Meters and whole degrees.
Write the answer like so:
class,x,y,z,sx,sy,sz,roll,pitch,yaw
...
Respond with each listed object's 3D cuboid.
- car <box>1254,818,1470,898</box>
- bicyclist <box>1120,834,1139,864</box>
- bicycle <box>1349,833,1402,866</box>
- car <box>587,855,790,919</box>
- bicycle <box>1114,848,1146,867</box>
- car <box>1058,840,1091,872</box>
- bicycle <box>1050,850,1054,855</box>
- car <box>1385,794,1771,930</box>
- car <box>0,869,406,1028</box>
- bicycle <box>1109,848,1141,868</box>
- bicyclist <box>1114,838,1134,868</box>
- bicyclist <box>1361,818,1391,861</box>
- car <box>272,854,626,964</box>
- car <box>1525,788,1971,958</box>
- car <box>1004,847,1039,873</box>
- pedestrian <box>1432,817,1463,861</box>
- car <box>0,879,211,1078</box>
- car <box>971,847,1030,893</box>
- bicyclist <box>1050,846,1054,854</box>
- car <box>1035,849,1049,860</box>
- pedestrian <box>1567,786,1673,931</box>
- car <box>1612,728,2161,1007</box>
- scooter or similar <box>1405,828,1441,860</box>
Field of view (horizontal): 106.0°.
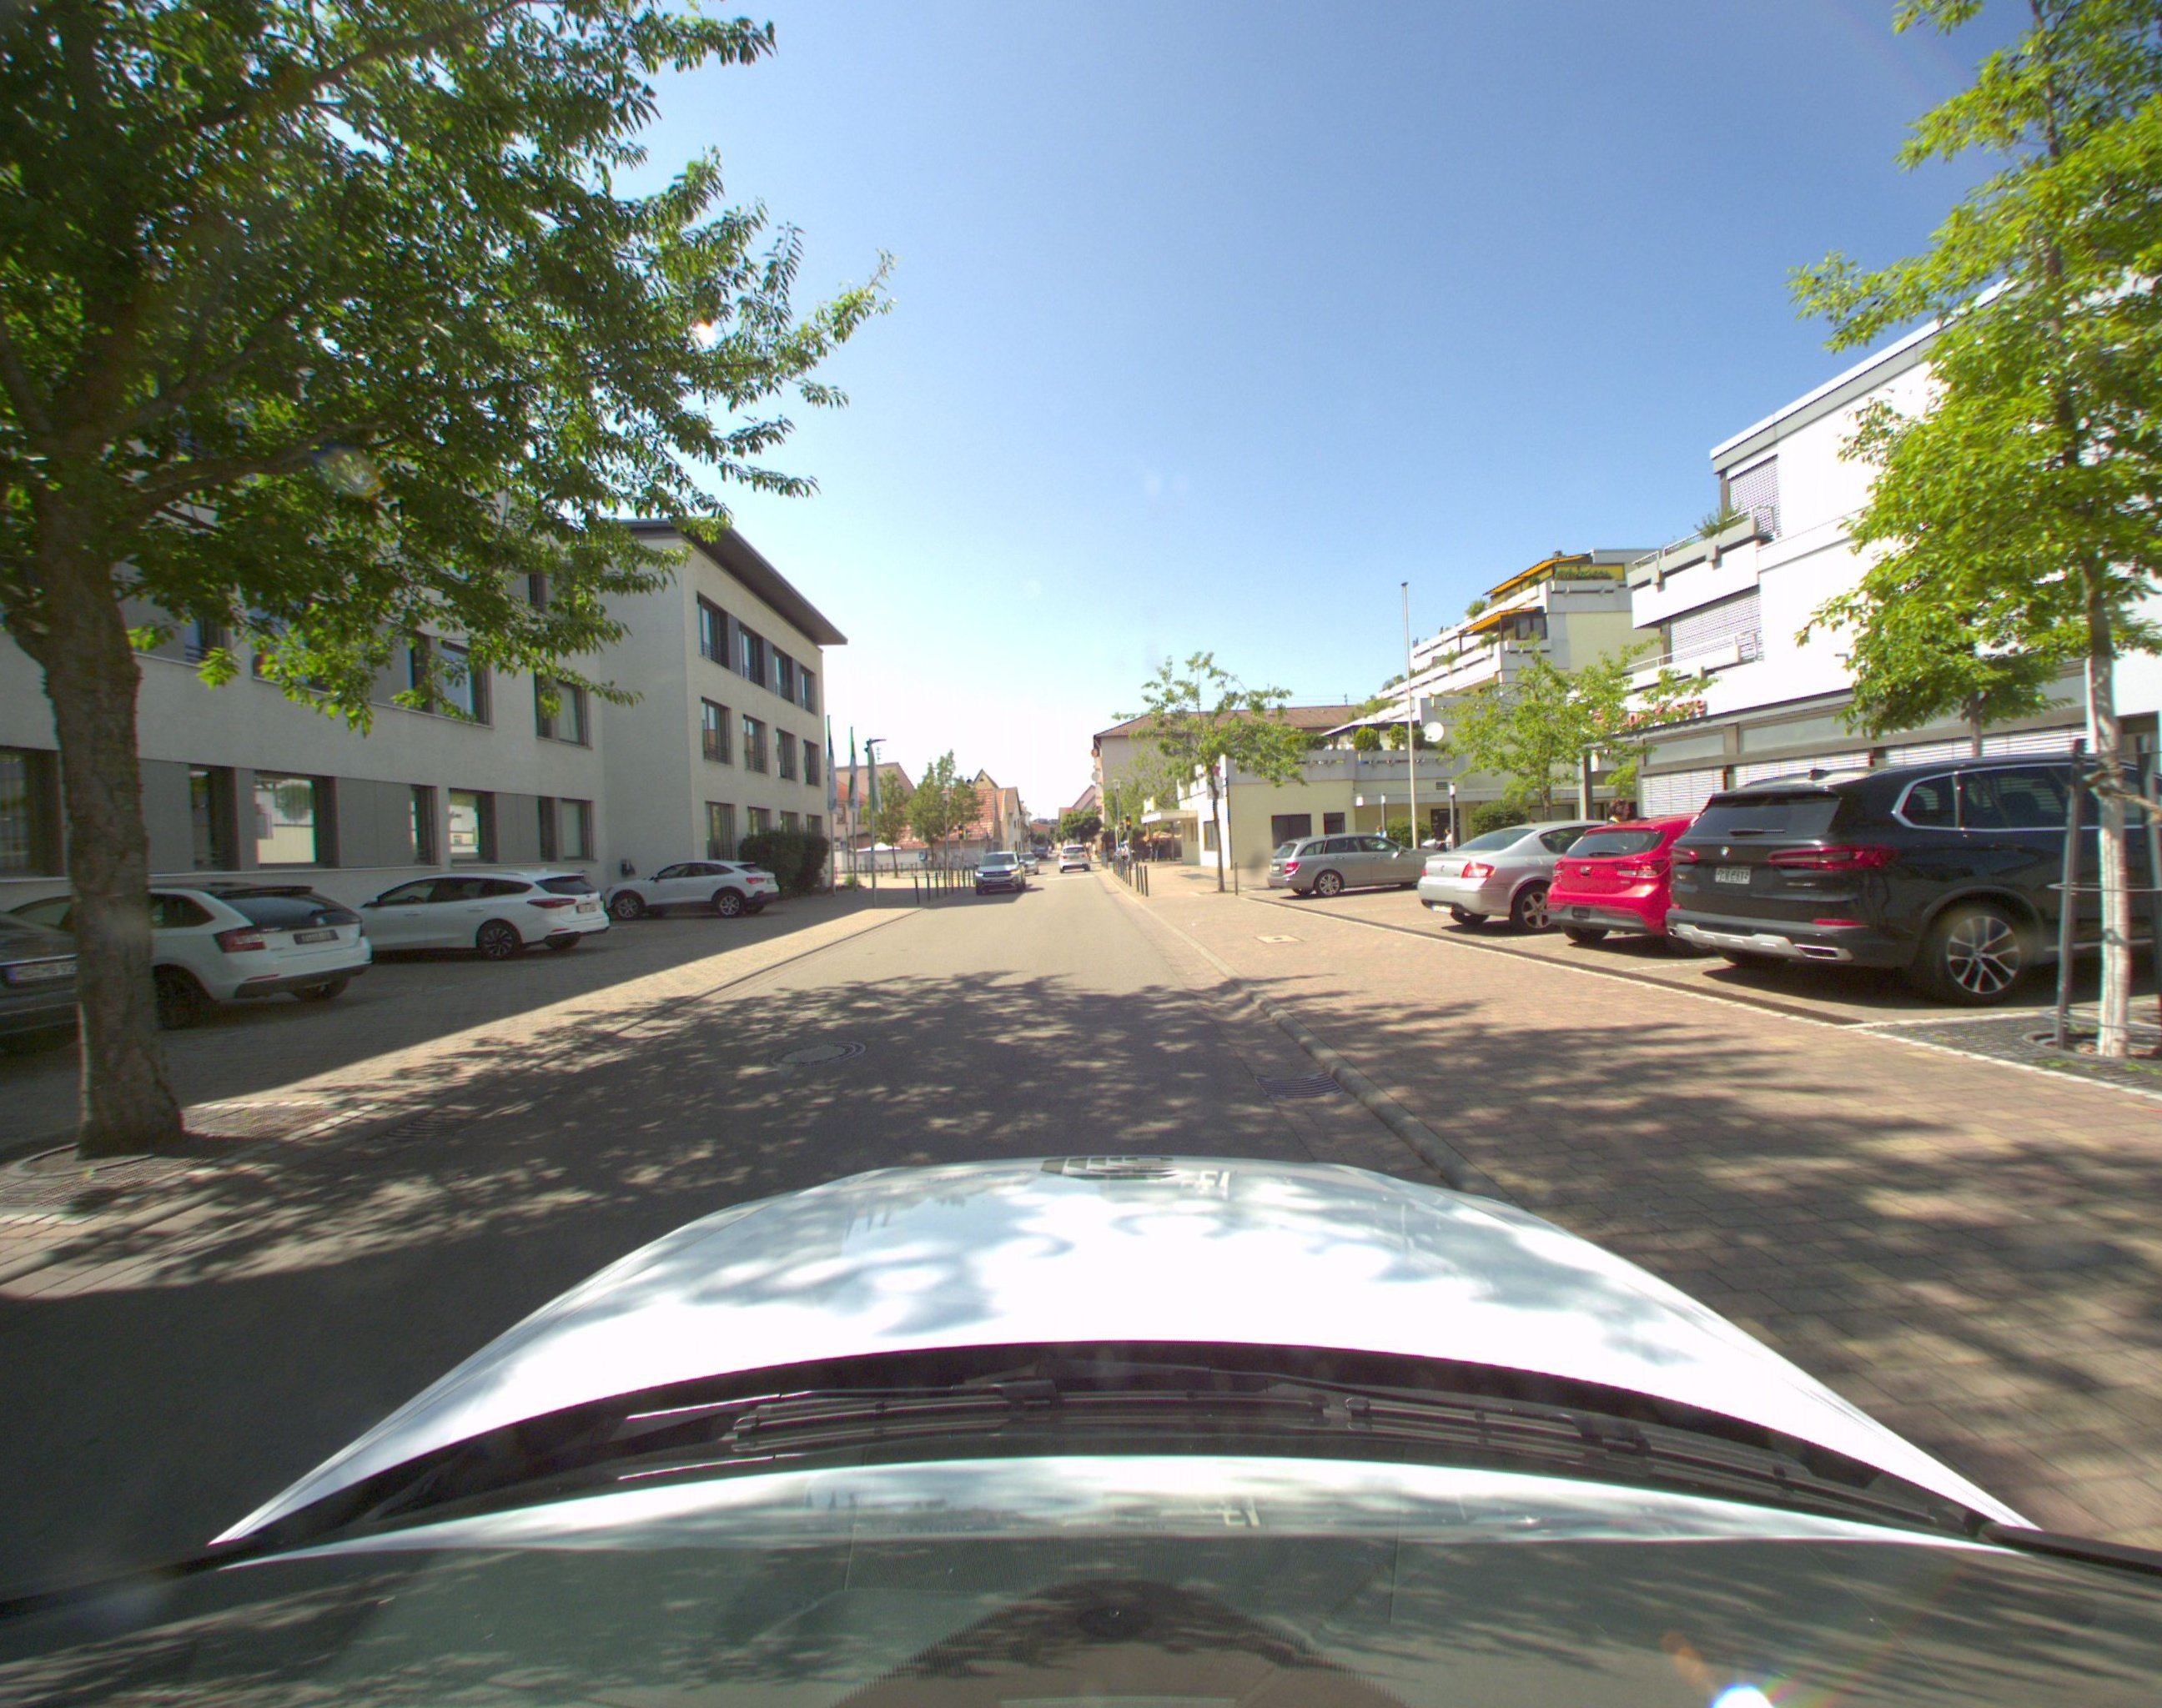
class,x,y,z,sx,sy,sz,roll,pitch,yaw
car,6.803,0.094,19.961,4.571,1.512,1.912,-5,0,-7
bicyclist,2.824,-0.268,47.216,0.766,1.664,0.663,-5,1,-42
bicycle,11.064,-0.163,30.582,1.901,1.109,0.670,-5,1,-27
car,-10.718,0.861,22.535,4.495,1.554,2.146,-2,0,-3
bicycle,2.854,0.183,47.217,1.907,0.958,0.668,-5,1,-42
car,-0.368,0.074,49.375,1.828,1.651,4.000,-5,2,0
bicycle,-5.557,-0.324,155.258,0.662,1.006,1.896,-3,0,-2
car,6.994,0.085,11.698,4.532,1.440,1.835,-5,0,-7
car,-10.262,0.970,8.984,3.978,1.451,1.806,-2,1,-3
bicycle,2.490,0.240,45.784,0.667,0.957,1.908,-4,1,43
bicyclist,2.406,-0.067,45.711,0.662,1.581,0.766,-4,1,43
bicyclist,11.084,-0.543,30.608,0.763,1.526,0.665,-5,1,-27
car,-10.722,0.887,14.104,4.491,1.554,1.934,-2,1,-1
car,7.307,0.166,9.124,3.726,1.452,1.741,-4,0,-7
car,-3.708,0.347,51.134,1.875,1.464,4.434,-3,0,-1
pedestrian,13.234,-0.534,29.411,0.795,1.521,0.706,-2,0,2
car,-10.194,1.011,6.563,3.981,1.431,1.969,-1,1,-5
car,-3.056,0.563,31.676,1.846,1.573,3.999,-3,0,-1
bicyclist,-5.557,-0.674,155.318,0.671,1.482,0.770,-3,0,-2
car,-5.605,0.053,116.477,1.708,1.517,3.787,-3,0,1
pedestrian,6.787,0.047,10.284,0.748,1.717,0.697,-4,0,-7
car,7.479,-0.013,6.830,4.618,1.771,2.146,-4,1,-2
scooter or similar,12.355,-0.353,29.444,1.036,1.106,0.628,-3,0,2
